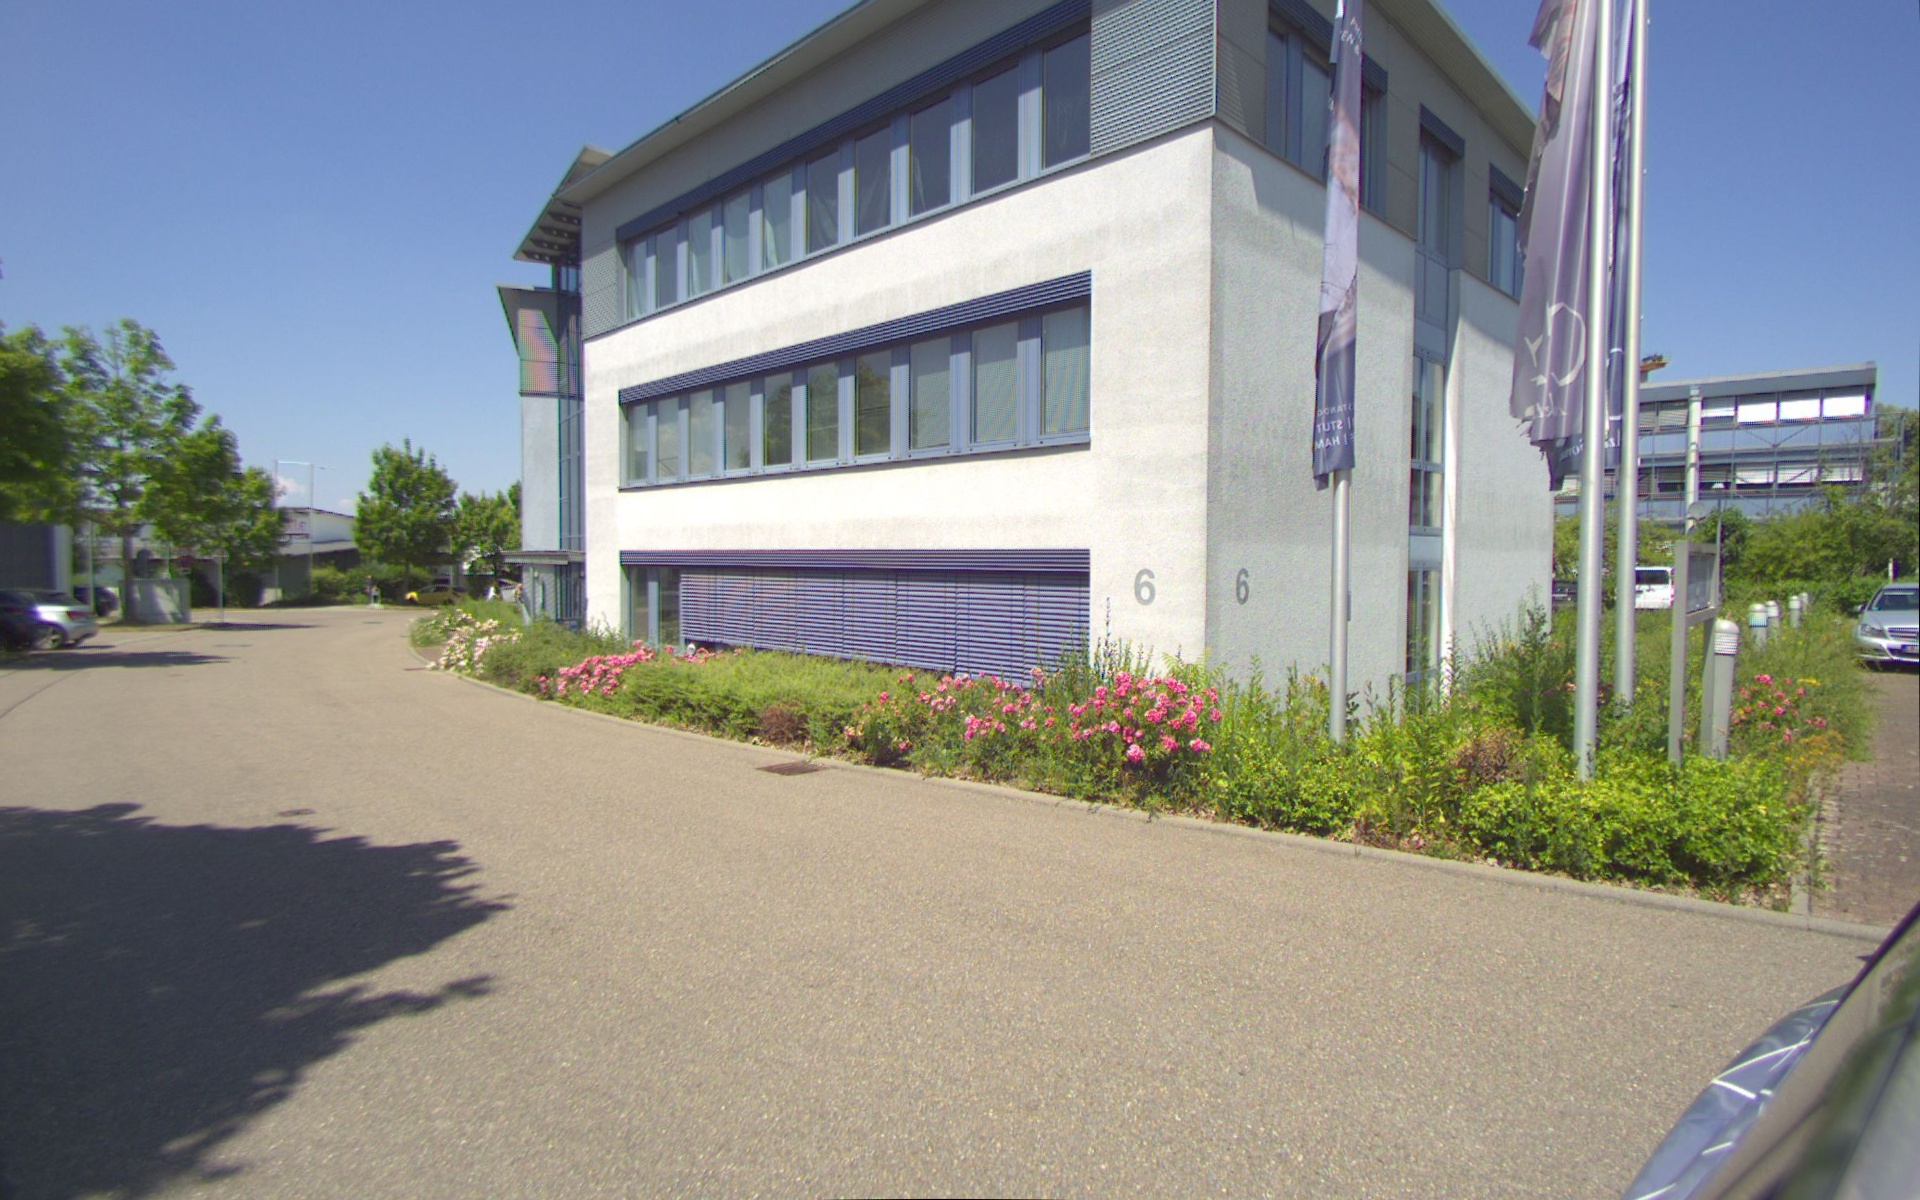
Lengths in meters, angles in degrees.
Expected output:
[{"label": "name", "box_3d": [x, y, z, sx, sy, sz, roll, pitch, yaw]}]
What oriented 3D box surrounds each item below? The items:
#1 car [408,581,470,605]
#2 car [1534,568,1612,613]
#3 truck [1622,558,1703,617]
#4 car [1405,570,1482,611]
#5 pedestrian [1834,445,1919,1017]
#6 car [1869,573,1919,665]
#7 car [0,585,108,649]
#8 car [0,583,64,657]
[{"label": "car", "box_3d": [-32.796, -0.459, 63.756, 3.159, 1.460, 1.587, 0, 1, 6]}, {"label": "car", "box_3d": [22.952, -0.382, 37.835, 1.782, 1.565, 3.940, 0, 2, 42]}, {"label": "truck", "box_3d": [24.705, -0.469, 35.541, 1.991, 1.917, 3.942, 0, 1, 41]}, {"label": "car", "box_3d": [19.707, -0.425, 41.194, 1.782, 1.565, 3.940, 0, 2, 42]}, {"label": "pedestrian", "box_3d": [3.572, 0.421, 3.224, 0.885, 1.843, 0.862, -1, 1, -19]}, {"label": "car", "box_3d": [16.418, 0.272, 16.821, 3.749, 1.408, 1.708, -2, 3, -45]}, {"label": "car", "box_3d": [-22.243, 0.376, 23.458, 3.517, 1.461, 1.638, 0, 0, -28]}, {"label": "car", "box_3d": [-21.351, 0.401, 21.239, 3.517, 1.545, 1.638, 0, 0, -28]}]
